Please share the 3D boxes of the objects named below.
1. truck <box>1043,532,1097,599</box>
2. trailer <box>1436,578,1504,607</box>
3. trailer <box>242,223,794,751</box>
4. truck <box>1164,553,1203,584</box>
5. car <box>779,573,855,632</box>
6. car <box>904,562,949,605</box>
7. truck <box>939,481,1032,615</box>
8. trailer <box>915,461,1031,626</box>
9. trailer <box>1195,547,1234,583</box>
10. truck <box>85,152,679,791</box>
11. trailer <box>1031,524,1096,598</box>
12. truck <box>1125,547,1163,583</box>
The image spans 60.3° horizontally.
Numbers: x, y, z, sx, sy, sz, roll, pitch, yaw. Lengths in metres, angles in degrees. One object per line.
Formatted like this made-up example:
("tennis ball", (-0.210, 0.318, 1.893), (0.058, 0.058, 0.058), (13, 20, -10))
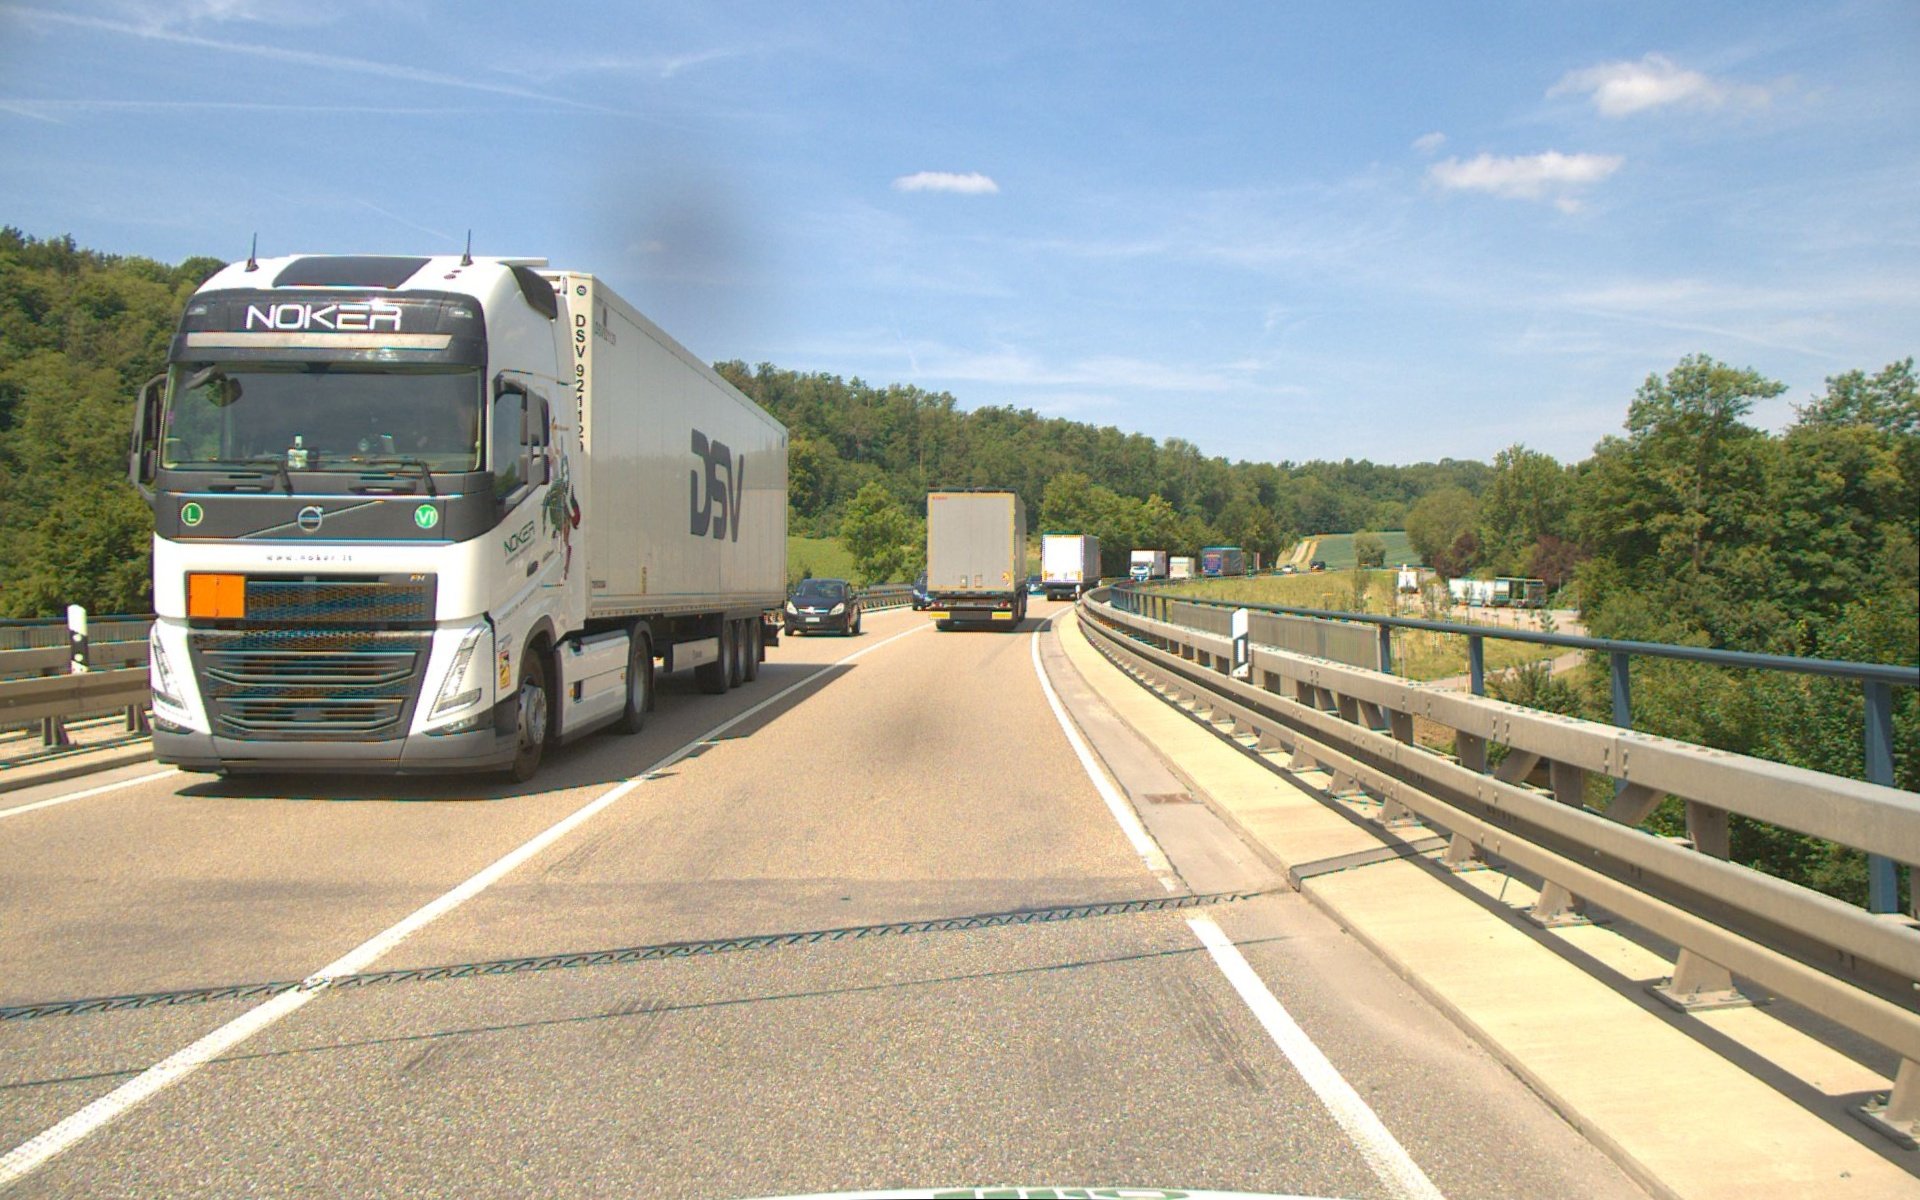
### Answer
("truck", (7.514, -2.294, 112.237), (3.293, 4.392, 6.746), (1, 1, 7))
("trailer", (64.590, -1.030, 209.848), (2.671, 3.385, 11.859), (0, 2, -13))
("trailer", (-4.333, -1.002, 20.725), (2.794, 4.261, 14.499), (1, 1, 1))
("truck", (25.385, -3.514, 187.153), (3.154, 3.424, 11.885), (1, 1, 13))
("car", (-3.748, 0.033, 43.836), (1.627, 1.483, 3.895), (0, 1, 0))
("car", (-1.475, -0.752, 74.685), (1.814, 1.830, 4.978), (1, 1, 1))
("truck", (1.007, -1.843, 59.921), (3.053, 4.573, 6.814), (1, 1, 3))
("trailer", (0.660, -1.707, 53.155), (3.053, 4.578, 13.893), (1, 1, 3))
("trailer", (32.122, -4.350, 208.191), (3.570, 4.337, 12.204), (1, 1, 15))
("truck", (-4.414, -0.913, 14.240), (2.787, 4.232, 6.332), (1, 1, 1))
("trailer", (6.732, -2.406, 105.523), (3.293, 4.392, 13.875), (1, 1, 7))
("truck", (20.552, -3.899, 184.370), (2.852, 3.869, 9.717), (1, 1, 14))
